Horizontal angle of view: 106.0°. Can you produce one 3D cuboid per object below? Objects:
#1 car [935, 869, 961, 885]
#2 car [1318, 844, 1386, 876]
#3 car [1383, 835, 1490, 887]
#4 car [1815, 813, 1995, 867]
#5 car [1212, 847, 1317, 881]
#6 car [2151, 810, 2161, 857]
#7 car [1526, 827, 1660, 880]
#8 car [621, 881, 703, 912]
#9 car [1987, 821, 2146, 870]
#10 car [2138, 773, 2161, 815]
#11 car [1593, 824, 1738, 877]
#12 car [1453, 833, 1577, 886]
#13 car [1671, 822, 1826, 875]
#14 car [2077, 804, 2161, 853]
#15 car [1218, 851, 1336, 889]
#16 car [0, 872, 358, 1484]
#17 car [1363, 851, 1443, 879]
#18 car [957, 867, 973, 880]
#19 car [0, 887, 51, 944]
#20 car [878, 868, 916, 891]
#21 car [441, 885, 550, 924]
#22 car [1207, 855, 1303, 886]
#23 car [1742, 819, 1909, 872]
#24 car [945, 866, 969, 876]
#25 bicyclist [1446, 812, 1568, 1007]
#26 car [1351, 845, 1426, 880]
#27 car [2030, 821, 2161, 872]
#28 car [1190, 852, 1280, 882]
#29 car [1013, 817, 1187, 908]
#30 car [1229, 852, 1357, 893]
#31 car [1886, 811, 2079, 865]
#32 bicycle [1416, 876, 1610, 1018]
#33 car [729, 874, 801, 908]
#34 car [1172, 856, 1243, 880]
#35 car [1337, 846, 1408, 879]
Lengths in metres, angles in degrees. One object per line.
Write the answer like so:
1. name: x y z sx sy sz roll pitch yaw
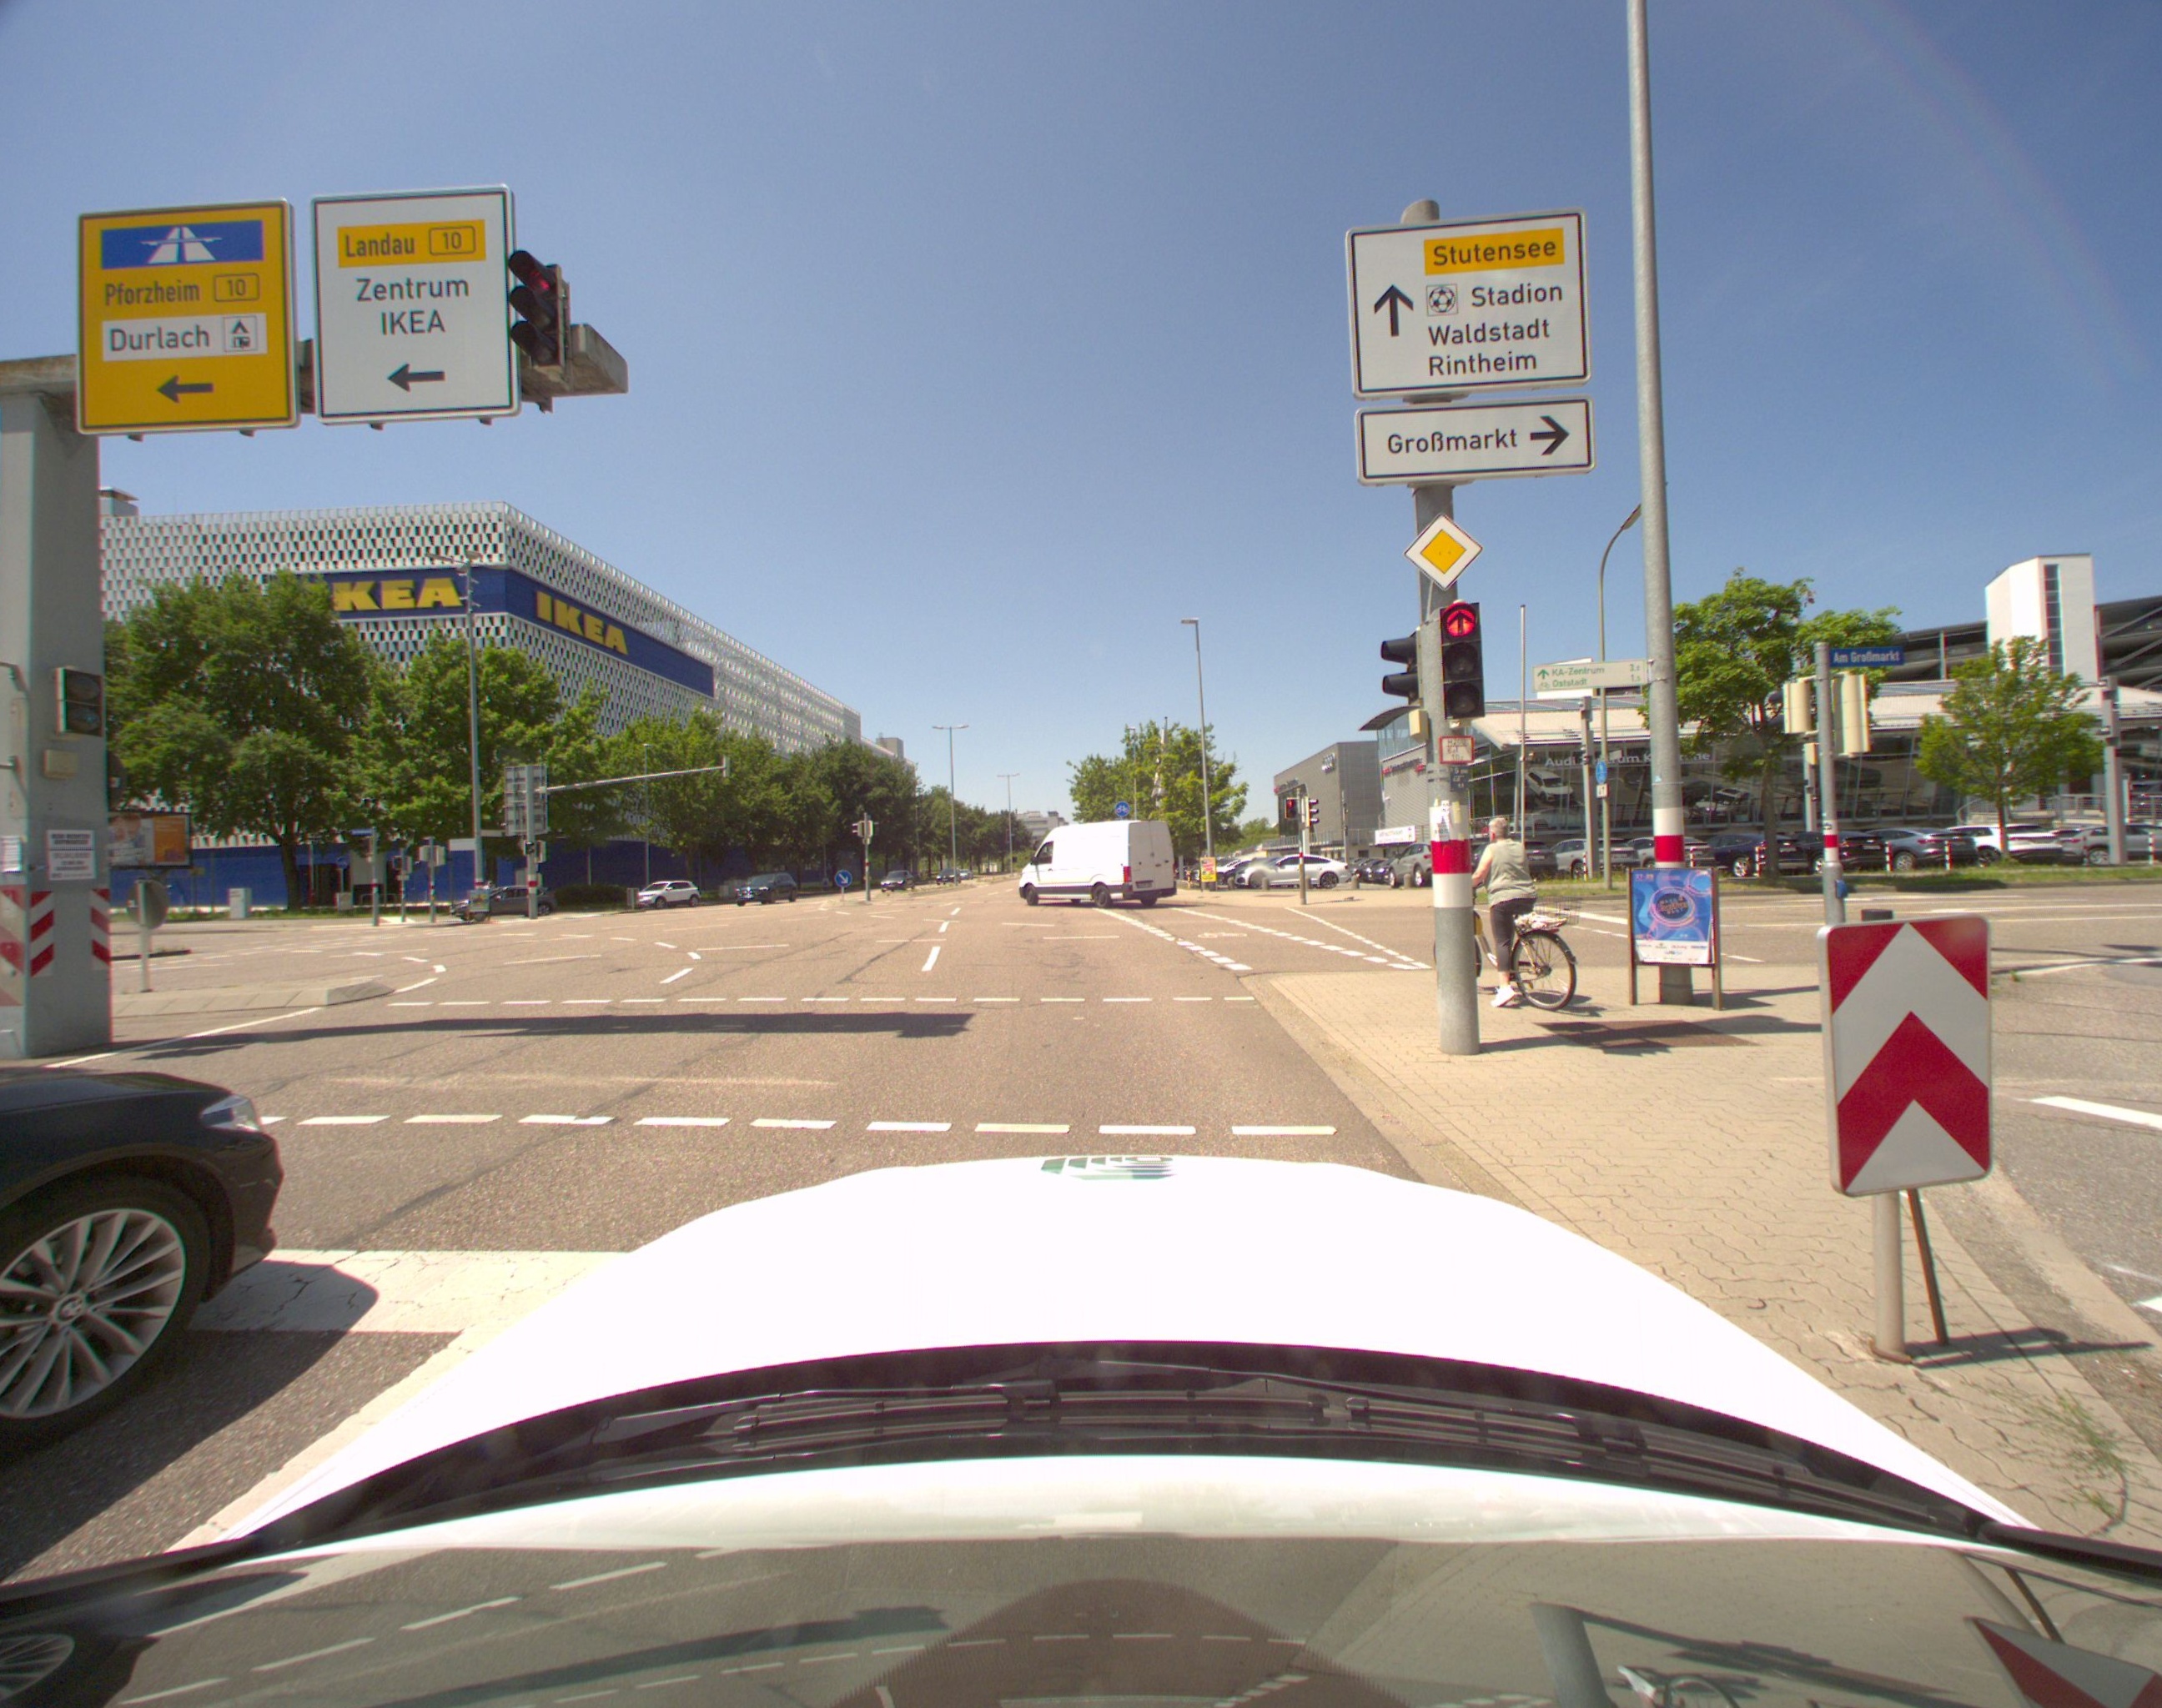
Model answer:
1. car: -12.727 2.163 78.146 1.678 1.411 3.666 -3 -1 2
2. car: 18.738 0.416 56.458 3.971 2.014 2.001 -2 -1 2
3. car: 12.447 0.217 28.842 1.986 1.639 4.270 -2 0 2
4. car: 28.561 -0.451 28.469 1.821 1.639 4.476 -3 0 2
5. car: 8.903 0.470 39.871 4.721 1.457 2.002 -2 0 3
6. car: 39.466 -0.808 26.859 4.705 1.639 1.844 -3 0 24
7. car: 17.937 -0.019 28.826 1.986 1.639 4.443 -3 0 2
8. car: -23.224 2.332 45.335 1.609 1.457 4.088 -3 -1 17
9. car: 40.100 -0.327 33.285 3.720 1.772 1.781 -3 -1 32
10. car: 54.957 -3.073 39.523 1.989 2.014 3.995 -2 -1 -3
11. car: 20.373 -0.108 28.660 1.878 1.639 4.526 -3 0 2
12. car: 15.089 0.160 28.659 1.986 1.639 4.559 -2 0 2
13. car: 23.160 -0.189 28.517 1.821 1.639 4.476 -3 0 2
14. car: 46.620 -1.129 35.455 3.728 2.014 1.866 -2 -1 11
15. car: 8.521 0.699 35.753 4.721 1.457 2.002 -2 -2 3
16. car: -3.558 0.809 0.628 1.793 1.466 4.624 -1 0 1
17. car: 19.294 0.649 48.911 4.076 1.460 1.720 -2 0 2
18. car: -15.917 2.711 112.026 1.645 1.653 4.160 -2 -1 -2
19. car: -40.622 2.301 28.845 4.764 2.008 1.986 -2 -1 -20
20. car: -13.096 1.798 58.130 1.725 1.427 3.707 -4 -1 2
21. car: -27.246 2.342 37.976 1.753 1.533 3.778 -4 -1 41
22. car: 9.286 0.882 43.684 4.726 1.457 2.000 -2 0 0
23. car: 25.855 -0.281 28.544 1.821 1.639 4.476 -3 0 2
24. car: -22.852 3.113 150.107 3.985 1.810 2.009 0 0 16
25. bicyclist: 4.021 0.495 7.735 0.732 1.749 0.753 -1 0 -3
26. car: 19.314 0.512 51.255 3.971 2.014 2.001 -2 -1 2
27. car: 39.100 -0.271 30.843 3.665 1.777 1.759 -3 -1 28
28. car: 8.750 0.731 46.498 4.726 1.457 2.000 -2 0 0
29. car: 0.433 0.296 25.375 2.113 2.534 5.733 -1 -1 -40
30. car: 8.559 0.728 33.202 4.721 1.457 2.002 -2 0 3
31. car: 31.241 -0.515 28.468 1.821 1.639 4.476 -3 0 2
32. bicycle: 4.051 0.811 7.847 0.784 1.127 1.919 -1 0 -2
33. car: -16.710 1.903 43.333 1.868 1.598 4.498 -3 -1 2
34. car: 9.075 0.977 58.766 4.726 1.457 2.000 -3 0 0
35. car: 19.337 0.567 54.072 3.971 2.014 2.001 -2 -1 2
